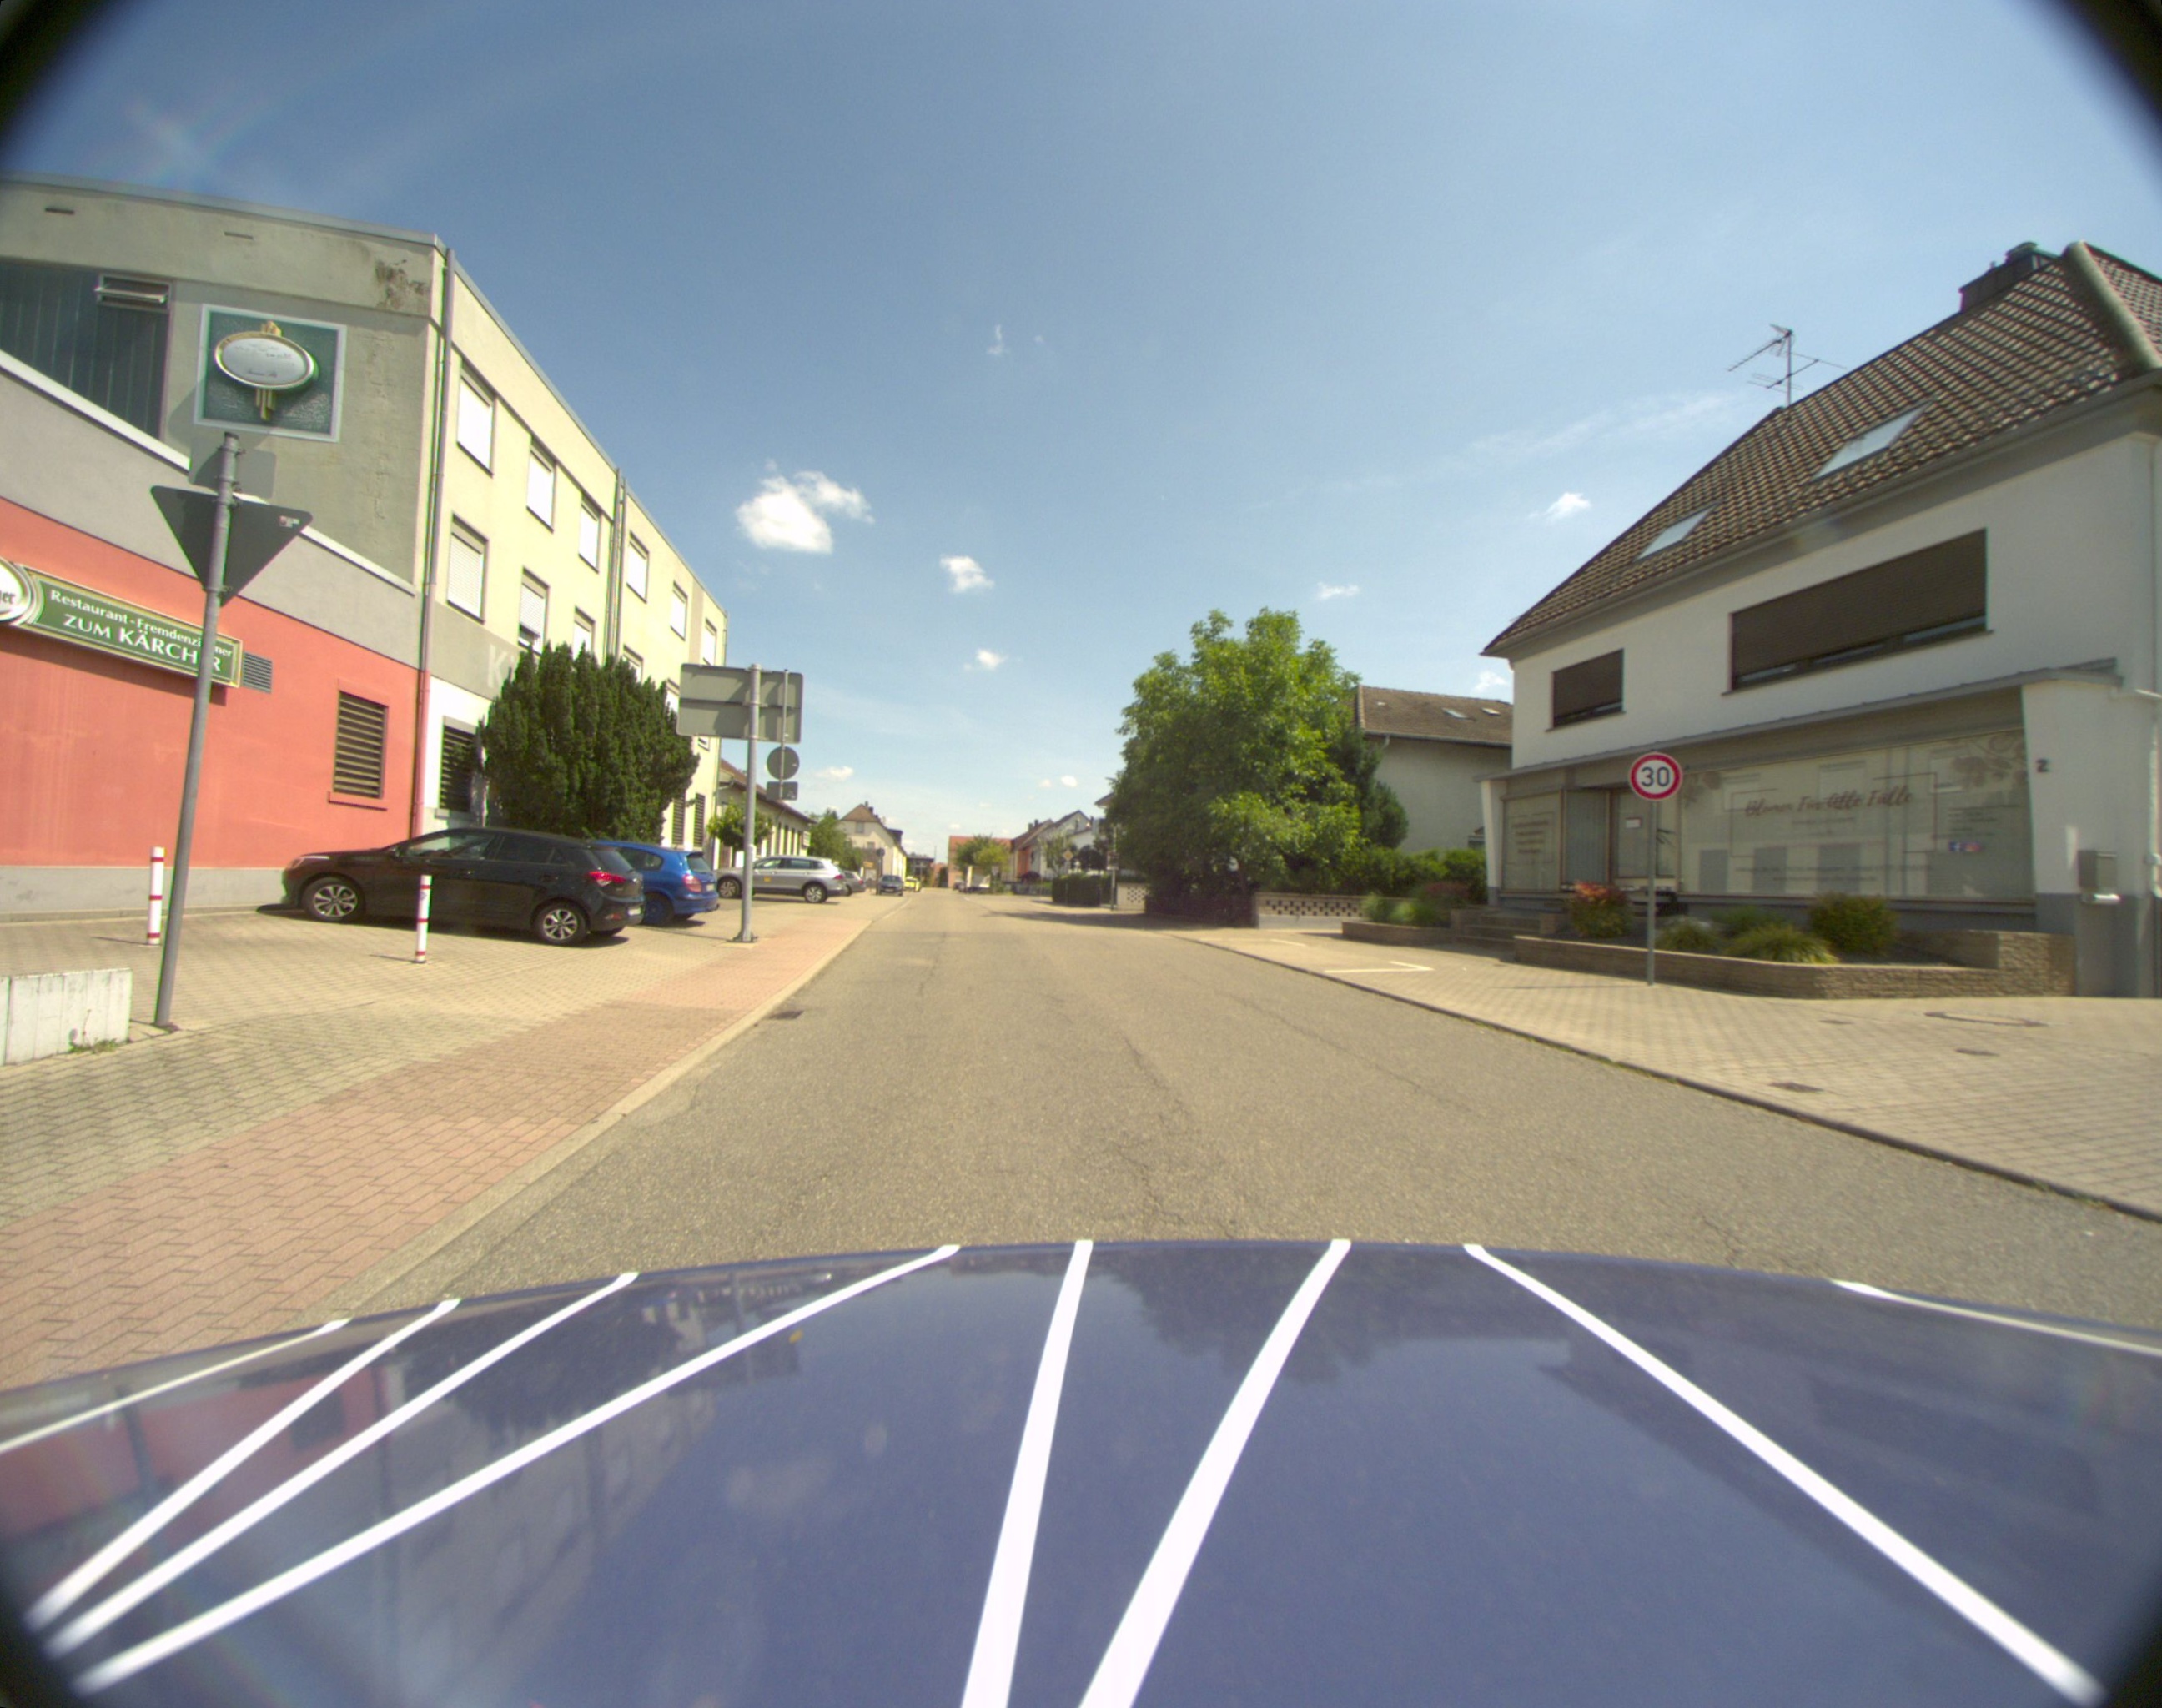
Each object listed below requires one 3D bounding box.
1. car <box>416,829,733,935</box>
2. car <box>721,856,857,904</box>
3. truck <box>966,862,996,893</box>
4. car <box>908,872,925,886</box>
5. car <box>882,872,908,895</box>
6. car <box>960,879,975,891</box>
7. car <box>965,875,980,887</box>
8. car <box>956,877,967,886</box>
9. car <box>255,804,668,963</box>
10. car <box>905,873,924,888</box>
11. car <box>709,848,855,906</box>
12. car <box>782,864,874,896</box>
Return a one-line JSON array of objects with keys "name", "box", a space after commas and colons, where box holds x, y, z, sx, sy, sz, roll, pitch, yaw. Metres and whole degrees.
[{"name": "car", "box": [-8.937, 0.497, 13.818, 4.339, 1.431, 1.778, 6, 0, -12]}, {"name": "car", "box": [-11.150, 1.015, 29.337, 4.517, 1.510, 1.998, 4, -2, -12]}, {"name": "truck", "box": [-11.794, 2.786, 89.267, 2.447, 3.226, 7.030, 6, -3, -13]}, {"name": "car", "box": [-18.911, 2.879, 87.475, 1.722, 1.490, 4.212, 6, -3, -11]}, {"name": "car", "box": [-13.067, 2.048, 53.517, 1.634, 1.479, 4.136, 3, -2, -12]}, {"name": "car", "box": [-16.211, 4.386, 108.666, 1.722, 1.490, 4.212, 5, -3, -12]}, {"name": "car", "box": [-14.666, 3.675, 102.651, 1.722, 1.490, 4.212, 5, -3, -12]}, {"name": "car", "box": [-21.808, 5.006, 138.726, 1.722, 1.490, 4.212, 5, -3, -12]}, {"name": "car", "box": [-8.293, 0.424, 10.619, 3.910, 1.481, 1.808, 9, -2, -13]}, {"name": "car", "box": [-18.104, 2.875, 82.825, 1.722, 1.389, 4.212, 6, -3, -11]}, {"name": "car", "box": [-10.543, 0.847, 27.144, 4.470, 1.686, 1.921, 4, -2, -13]}, {"name": "car", "box": [-14.011, 1.472, 42.331, 4.543, 1.445, 1.917, 4, -2, -11]}]
